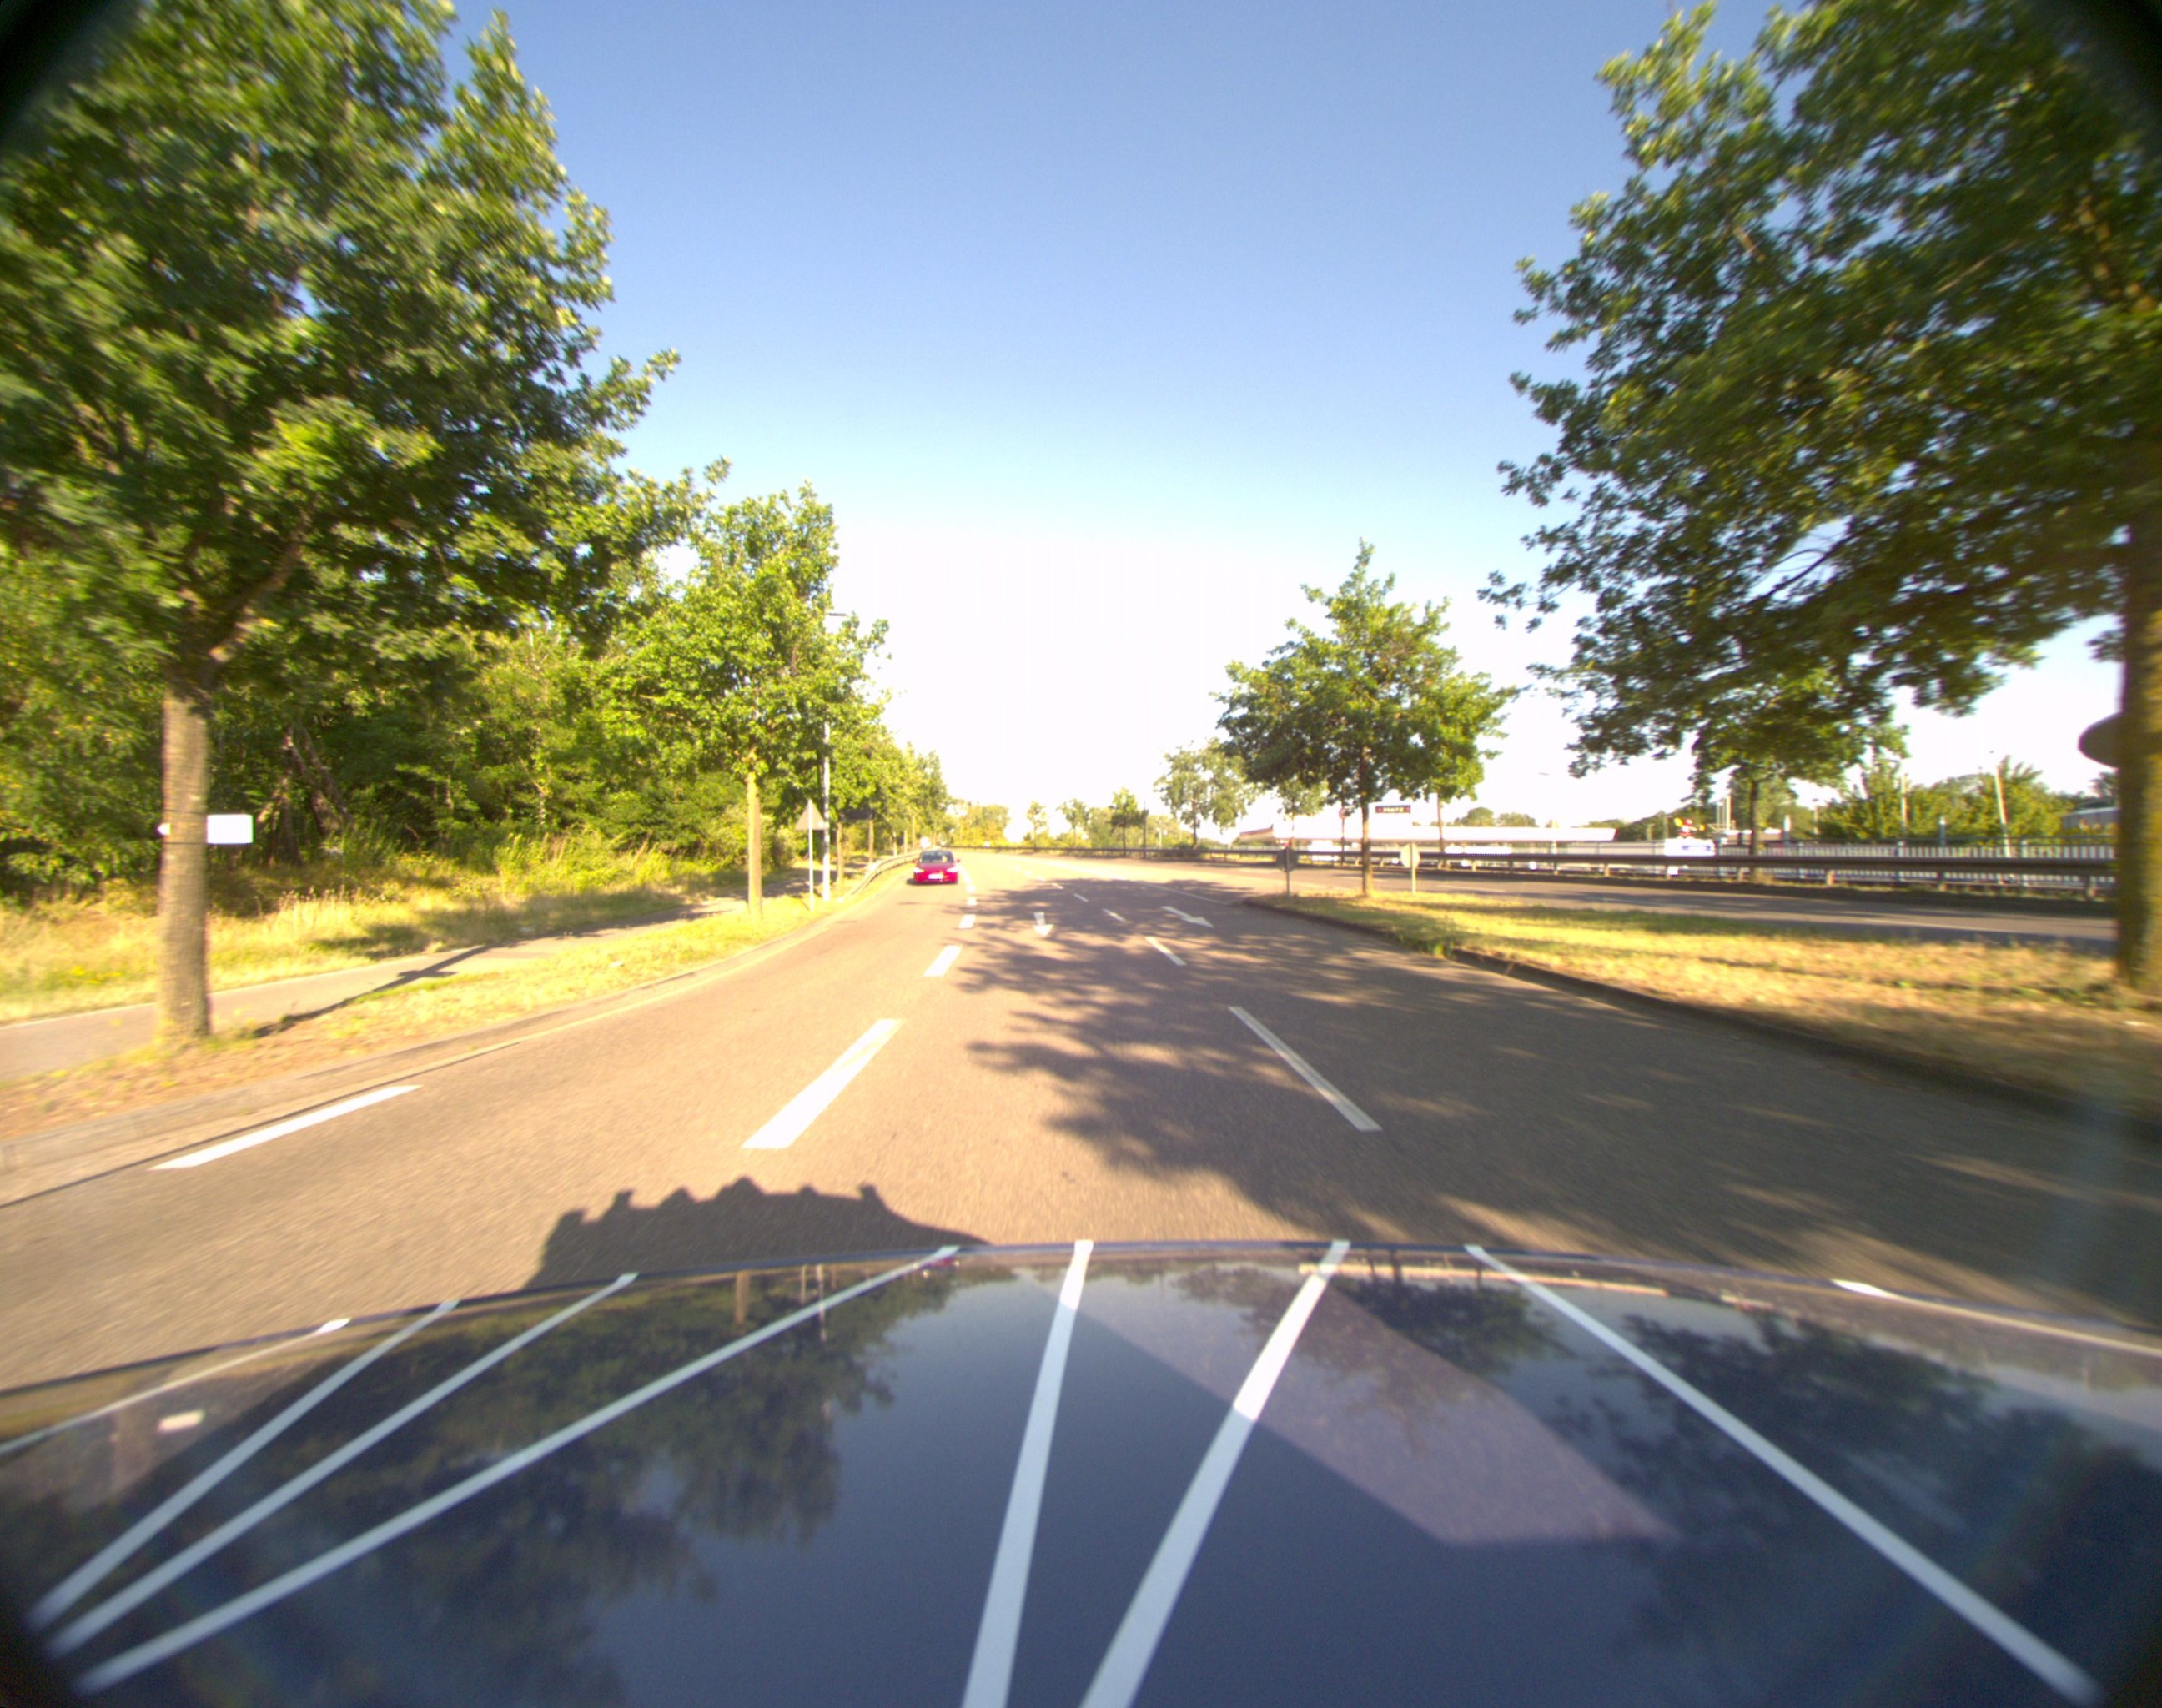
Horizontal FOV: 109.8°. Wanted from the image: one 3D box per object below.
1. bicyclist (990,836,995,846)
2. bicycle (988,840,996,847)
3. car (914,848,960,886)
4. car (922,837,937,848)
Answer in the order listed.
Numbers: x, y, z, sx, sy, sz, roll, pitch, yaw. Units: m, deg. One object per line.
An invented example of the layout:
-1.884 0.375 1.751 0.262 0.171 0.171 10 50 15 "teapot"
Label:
-13.539 -1.995 116.291 0.602 1.451 0.826 1 2 -20 "bicyclist"
-13.630 -1.599 116.447 0.585 1.071 2.308 1 1 -20 "bicycle"
-6.204 0.517 33.100 1.783 1.434 4.354 -1 2 -9 "car"
-28.006 -2.144 139.978 1.885 2.003 5.249 -2 3 -20 "car"
